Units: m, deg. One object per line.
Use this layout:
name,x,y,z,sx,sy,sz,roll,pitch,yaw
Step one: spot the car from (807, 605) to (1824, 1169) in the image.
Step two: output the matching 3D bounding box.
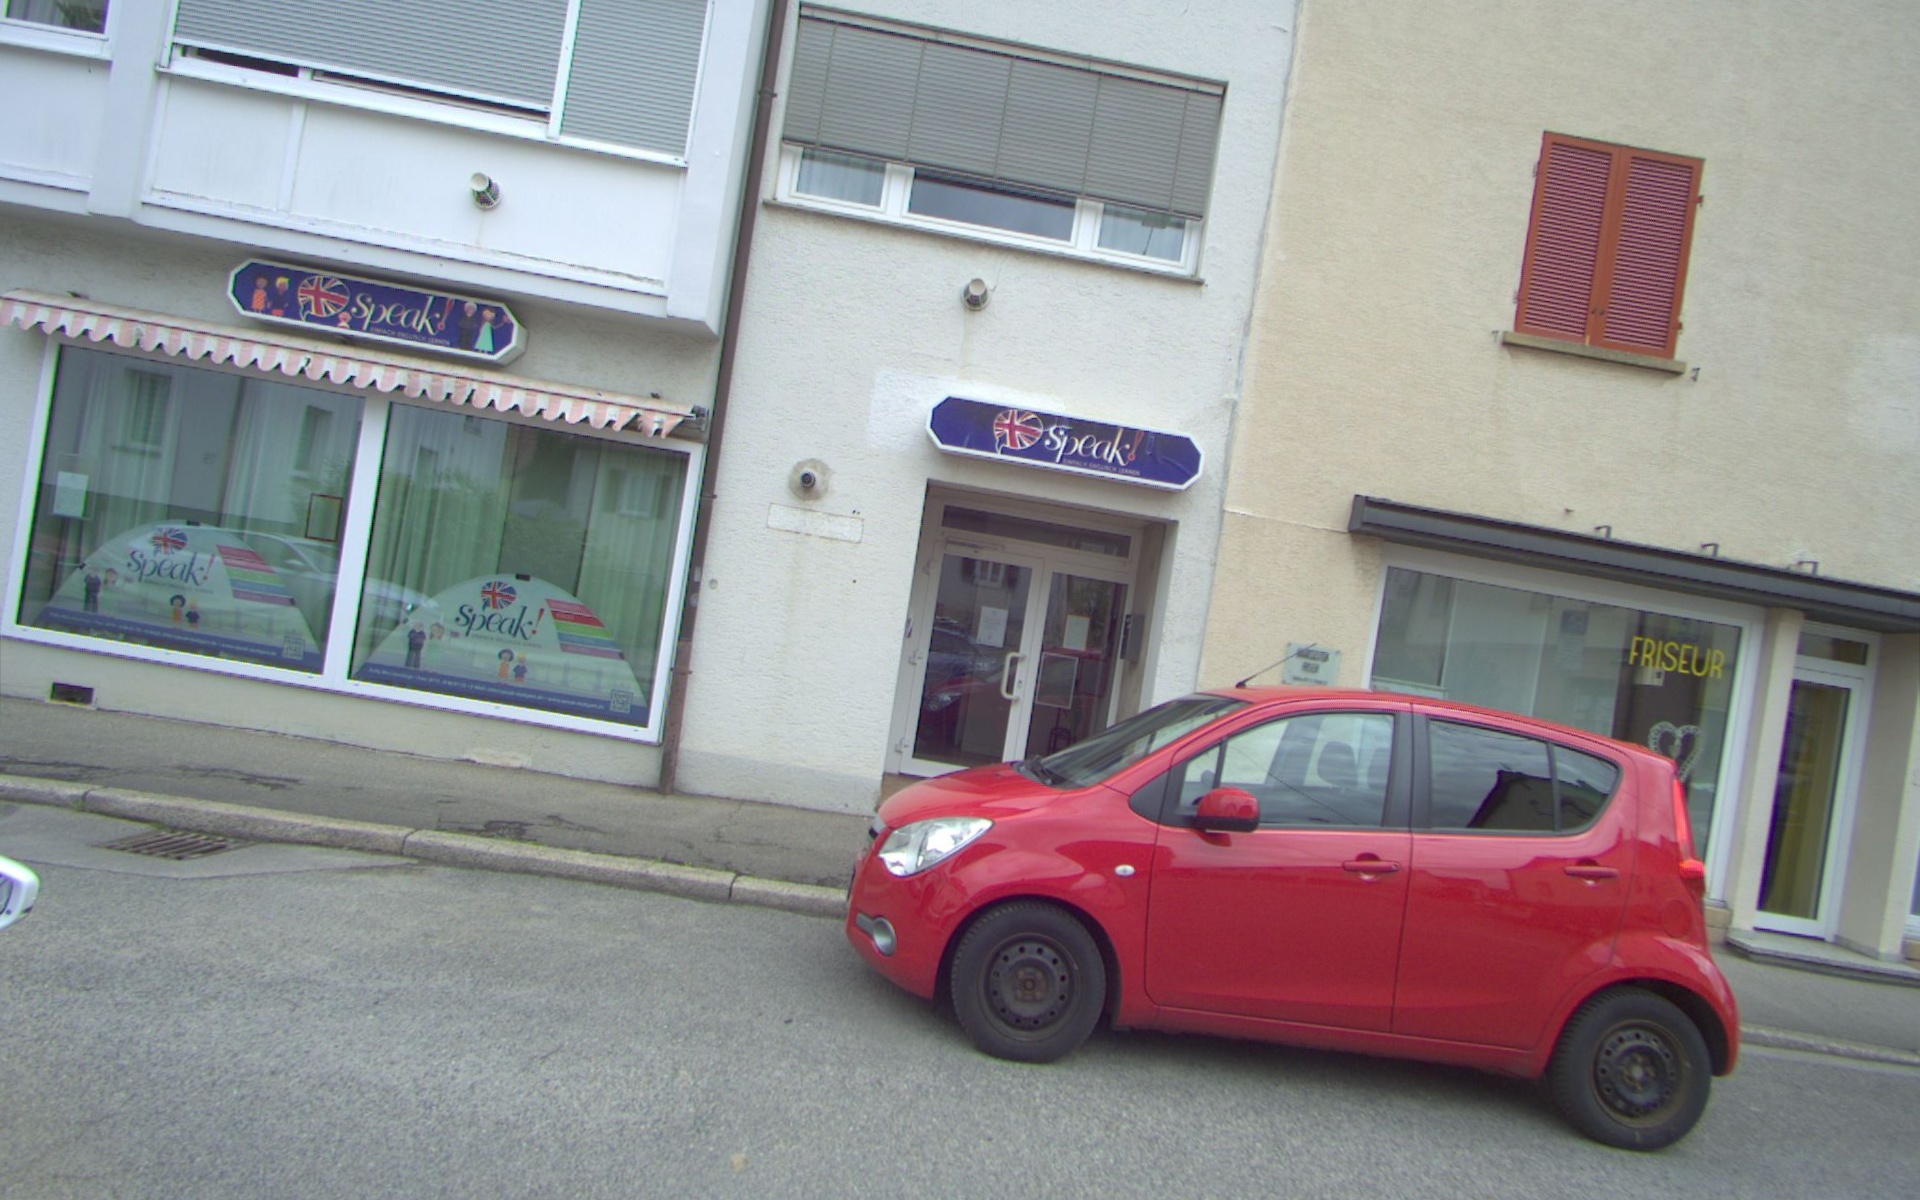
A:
car,1.330,1.114,4.569,3.628,1.573,1.699,8,-3,-1
